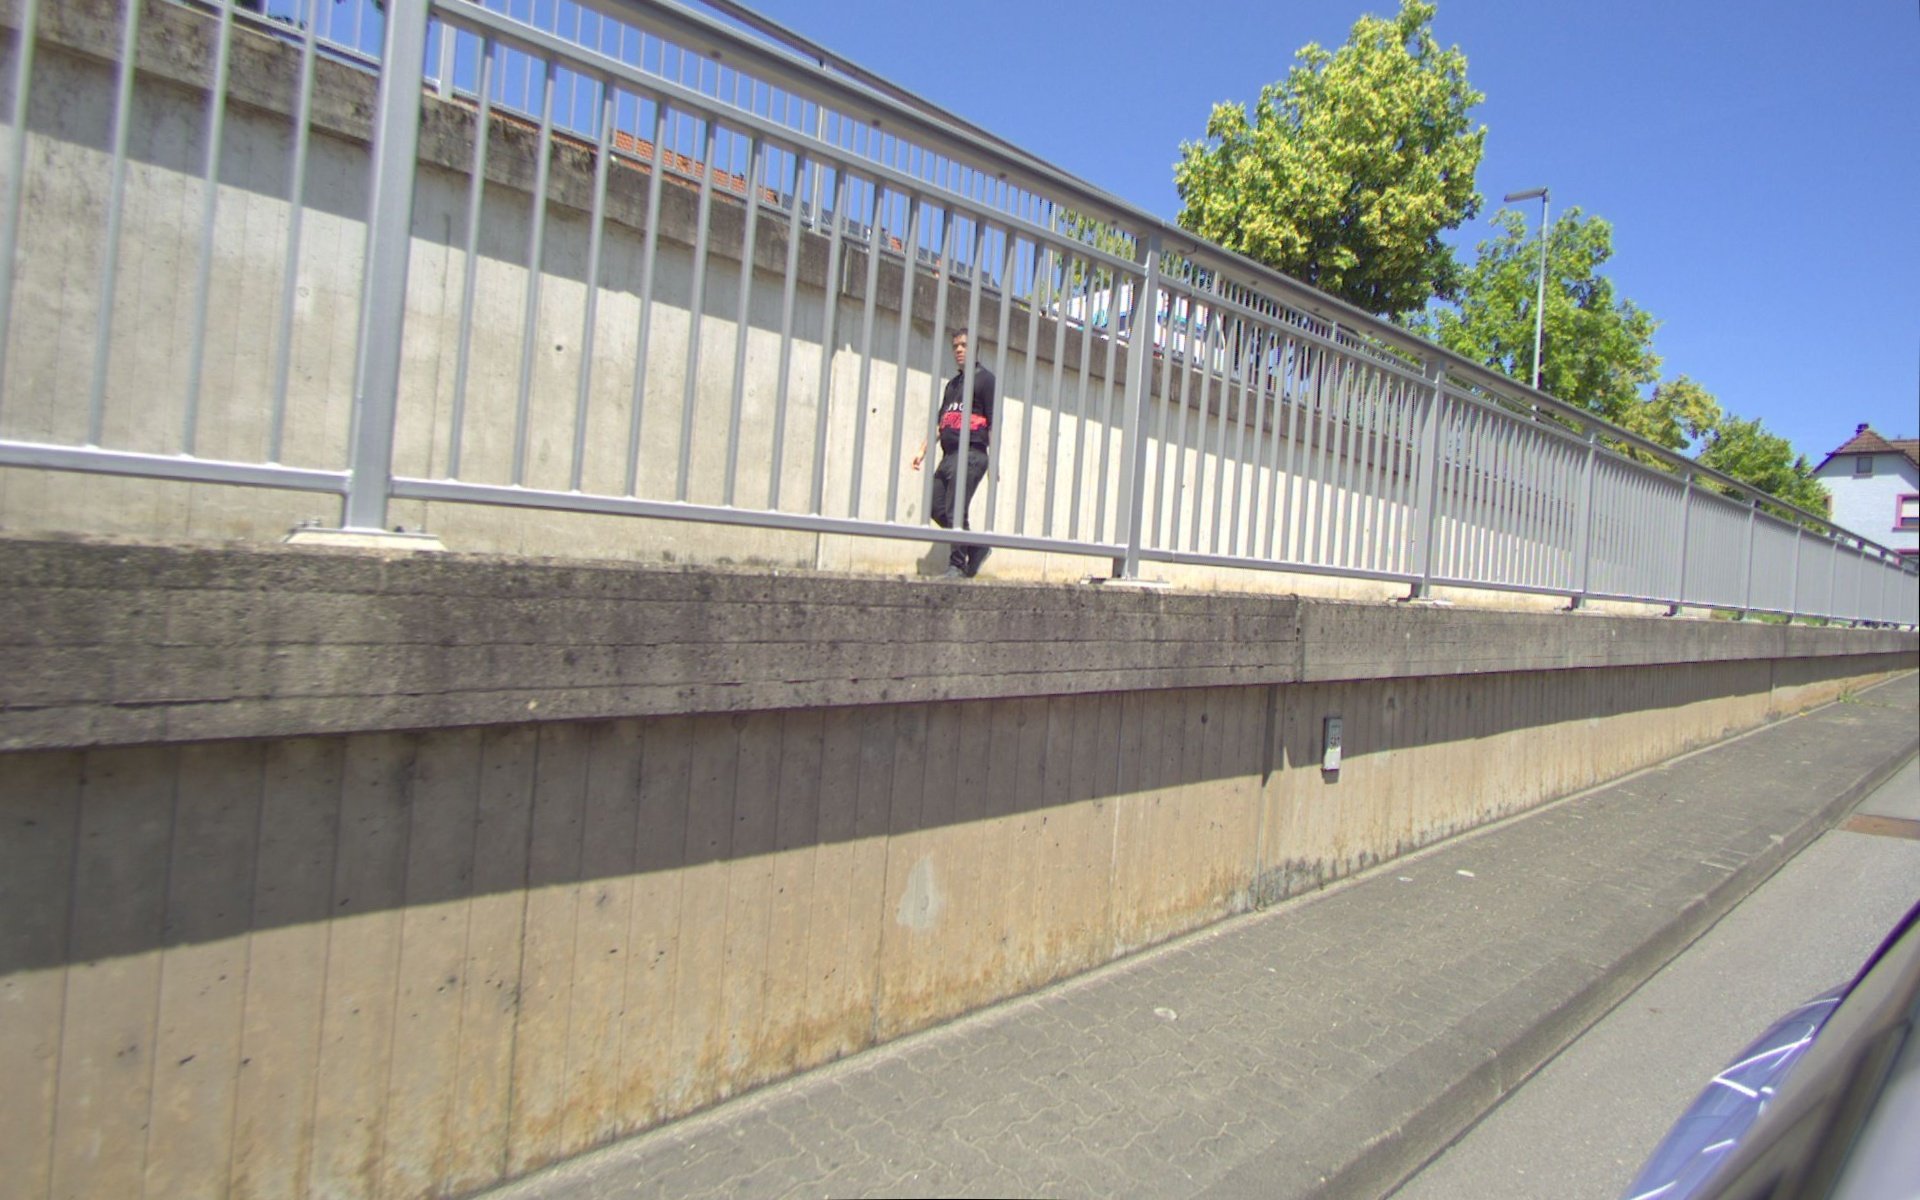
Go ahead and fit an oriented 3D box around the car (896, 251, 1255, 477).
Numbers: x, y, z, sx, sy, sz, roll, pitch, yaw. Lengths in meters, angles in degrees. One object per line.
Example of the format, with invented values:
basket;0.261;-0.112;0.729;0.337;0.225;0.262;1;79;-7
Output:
car;1.416;-3.084;14.490;1.952;2.089;5.124;4;-1;-39

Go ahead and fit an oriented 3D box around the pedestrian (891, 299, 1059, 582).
pedestrian;0.098;-1.049;7.111;0.774;1.804;0.838;1;1;-40

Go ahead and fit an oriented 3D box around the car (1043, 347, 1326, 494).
car;3.408;-2.687;16.058;1.655;1.616;4.214;4;-1;-39
